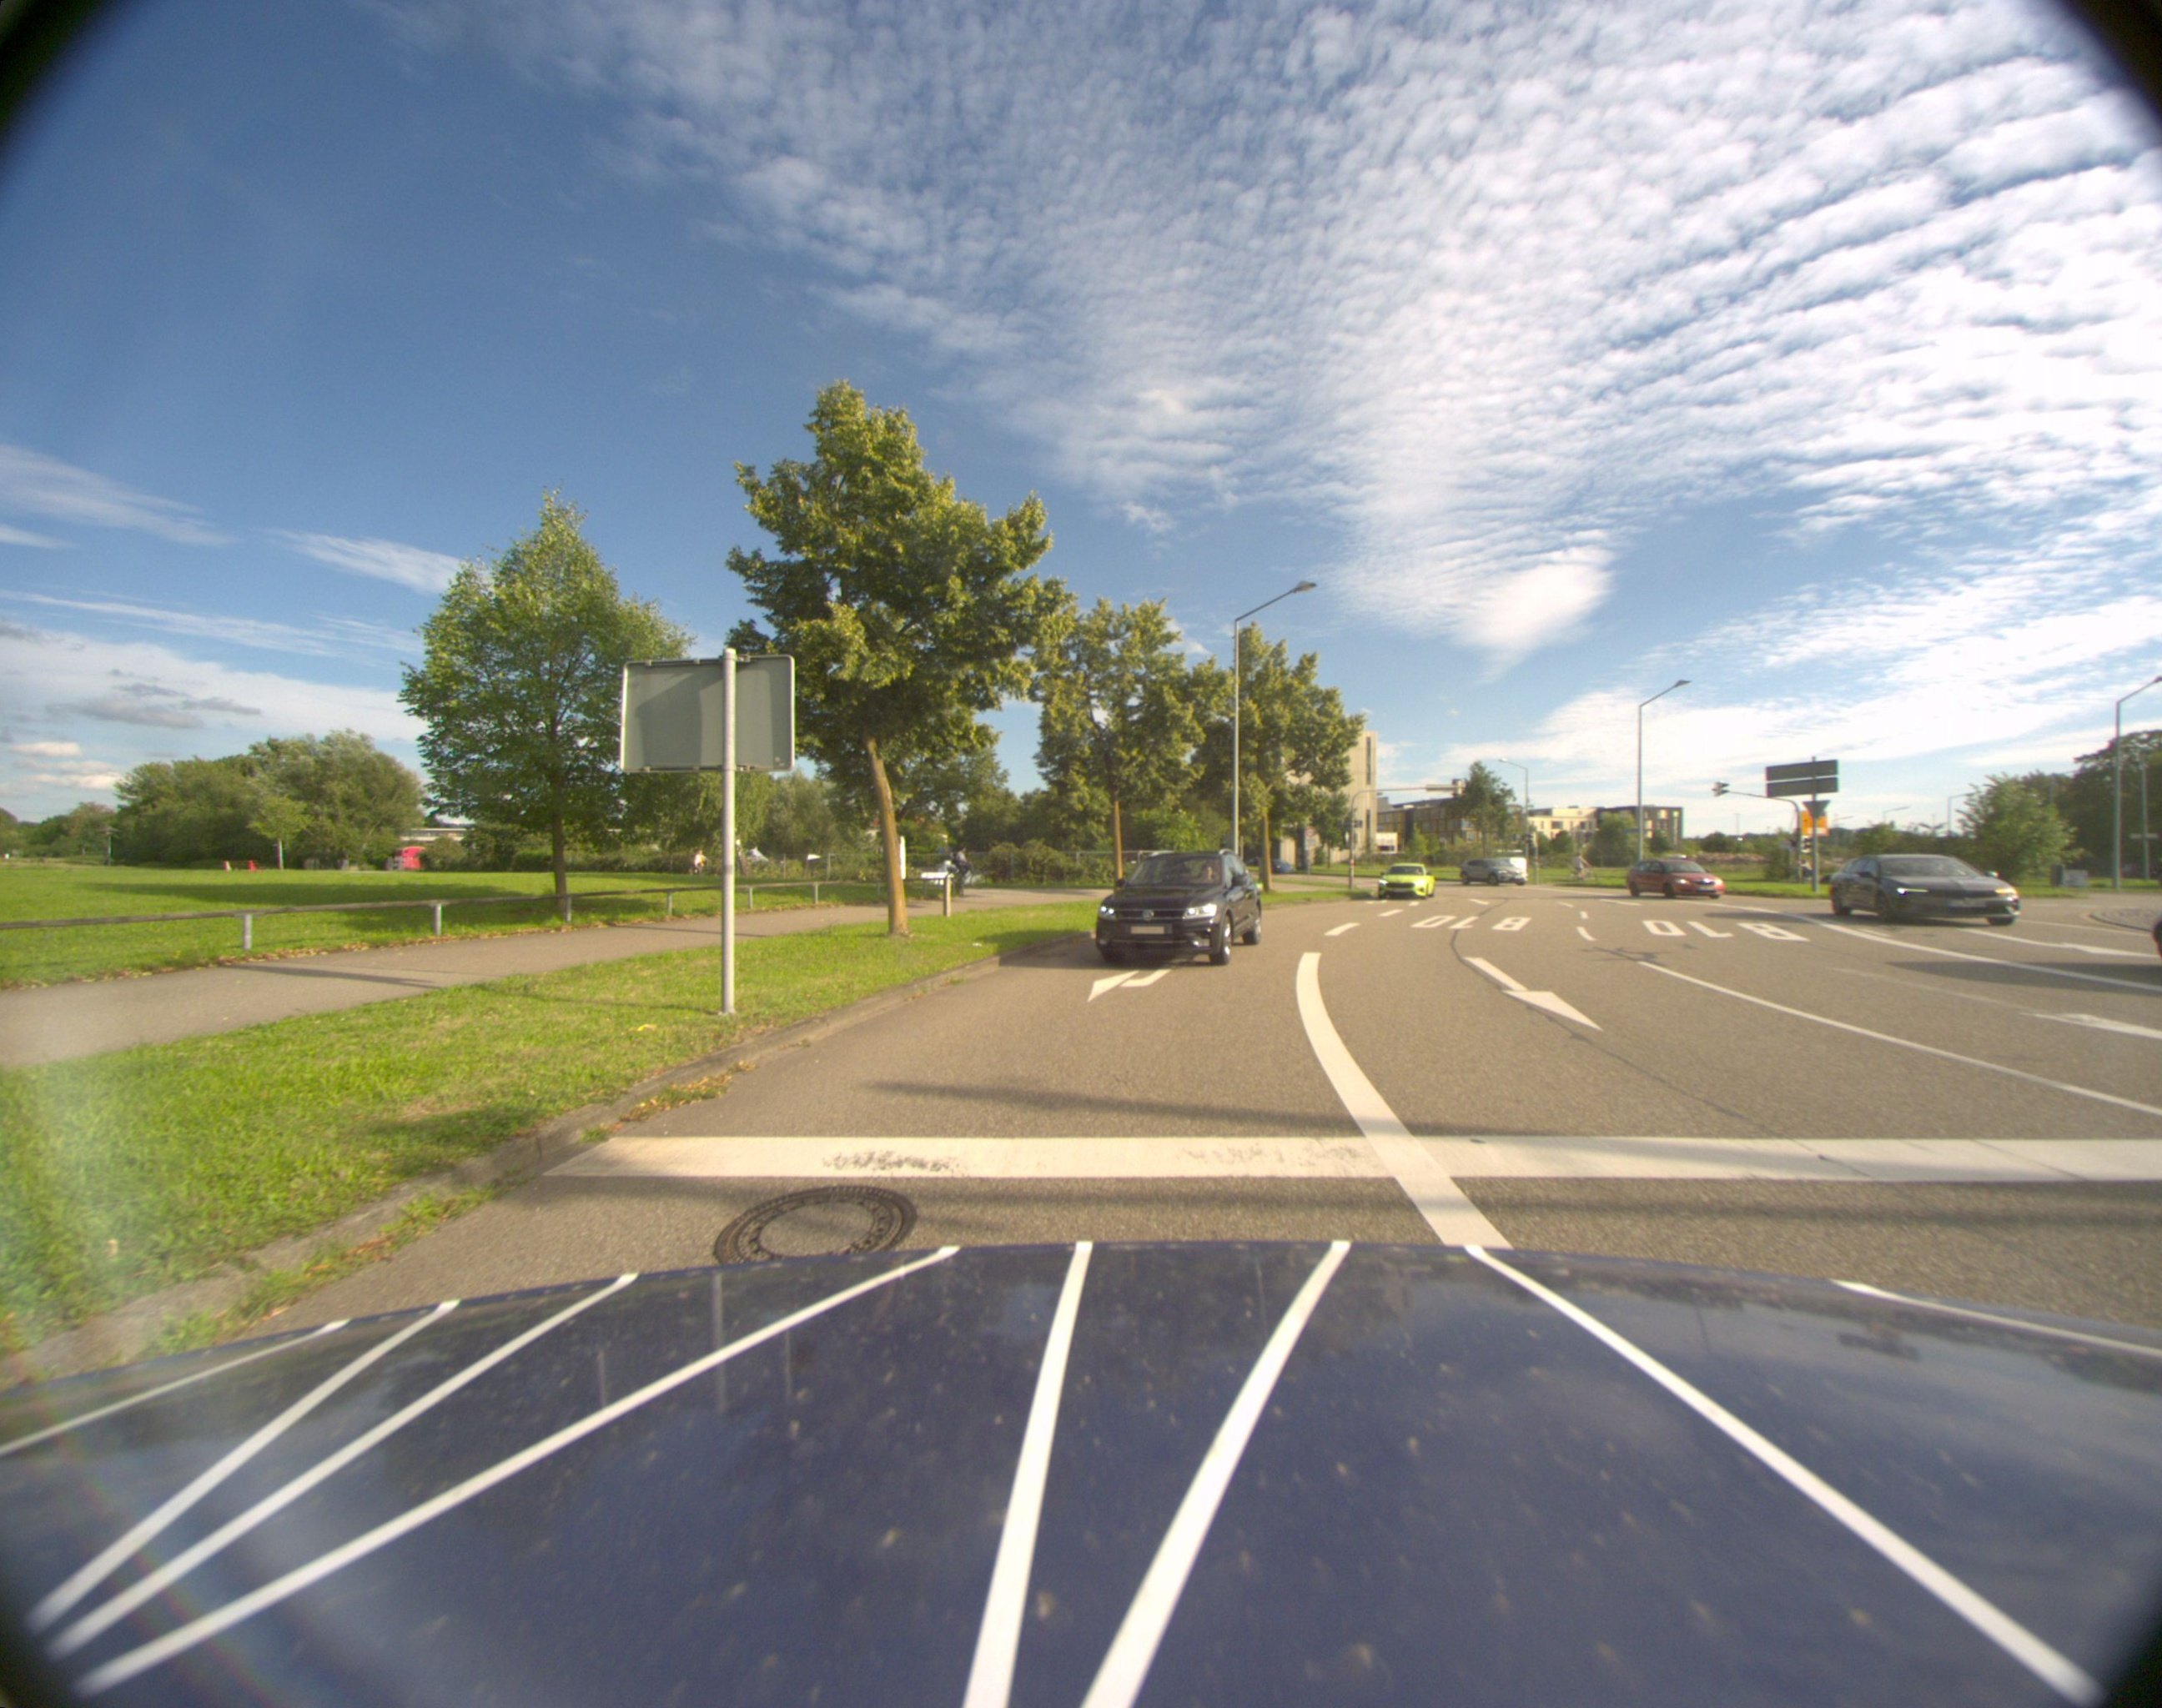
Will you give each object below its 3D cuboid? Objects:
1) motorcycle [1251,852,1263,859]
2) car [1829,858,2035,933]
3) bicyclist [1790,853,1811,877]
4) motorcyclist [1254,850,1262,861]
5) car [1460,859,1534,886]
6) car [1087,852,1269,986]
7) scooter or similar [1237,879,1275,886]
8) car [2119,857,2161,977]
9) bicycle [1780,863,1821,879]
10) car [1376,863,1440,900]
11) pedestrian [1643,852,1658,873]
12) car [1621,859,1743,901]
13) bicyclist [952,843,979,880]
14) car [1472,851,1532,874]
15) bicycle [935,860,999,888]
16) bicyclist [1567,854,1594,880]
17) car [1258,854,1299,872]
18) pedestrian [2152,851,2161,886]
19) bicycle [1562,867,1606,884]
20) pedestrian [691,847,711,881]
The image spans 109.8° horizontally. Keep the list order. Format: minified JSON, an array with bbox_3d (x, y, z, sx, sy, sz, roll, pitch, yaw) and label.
[{"bbox_3d":[23.494,0.223,101.465,0.785,0.980,2.021,0,0,-13],"label":"motorcycle"},{"bbox_3d":[18.402,0.815,16.721,1.819,1.412,4.456,-1,-1,32],"label":"car"},{"bbox_3d":[44.412,0.689,46.900,0.697,1.437,0.611,1,1,6],"label":"bicyclist"},{"bbox_3d":[23.592,0.184,101.347,0.785,1.358,0.942,0,1,-12],"label":"motorcyclist"},{"bbox_3d":[24.259,1.045,44.501,1.694,1.466,4.224,0,0,-7],"label":"car"},{"bbox_3d":[1.826,0.830,12.436,1.869,1.685,5.022,0,1,20],"label":"car"},{"bbox_3d":[9.288,1.511,40.322,1.556,0.279,1.290,0,0,-35],"label":"scooter or similar"},{"bbox_3d":[13.531,0.765,7.768,1.763,1.455,3.666,0,0,22],"label":"car"},{"bbox_3d":[44.381,1.047,46.909,1.835,0.982,0.611,0,0,6],"label":"bicycle"},{"bbox_3d":[13.535,1.104,31.275,1.892,1.412,4.617,-1,-1,30],"label":"car"},{"bbox_3d":[45.168,0.649,60.257,0.628,1.620,0.657,-1,1,-8],"label":"pedestrian"},{"bbox_3d":[22.759,0.966,28.975,1.692,1.466,4.230,-1,-1,7],"label":"car"},{"bbox_3d":[-4.890,0.319,32.206,0.903,1.538,0.805,0,1,15],"label":"bicyclist"},{"bbox_3d":[34.759,0.674,62.869,1.686,1.814,4.556,2,0,-13],"label":"car"},{"bbox_3d":[-4.830,0.824,32.197,2.596,1.119,0.805,0,1,15],"label":"bicycle"},{"bbox_3d":[29.654,0.763,45.111,0.865,1.547,0.997,0,1,-6],"label":"bicyclist"},{"bbox_3d":[19.666,0.877,75.700,2.001,1.652,4.797,0,1,-12],"label":"car"},{"bbox_3d":[60.762,0.796,42.438,0.897,1.905,0.865,-3,1,-18],"label":"pedestrian"},{"bbox_3d":[29.884,1.260,45.136,1.961,1.001,1.001,0,1,-6],"label":"bicycle"},{"bbox_3d":[-19.228,0.510,38.496,0.596,1.722,0.668,0,1,15],"label":"pedestrian"}]
